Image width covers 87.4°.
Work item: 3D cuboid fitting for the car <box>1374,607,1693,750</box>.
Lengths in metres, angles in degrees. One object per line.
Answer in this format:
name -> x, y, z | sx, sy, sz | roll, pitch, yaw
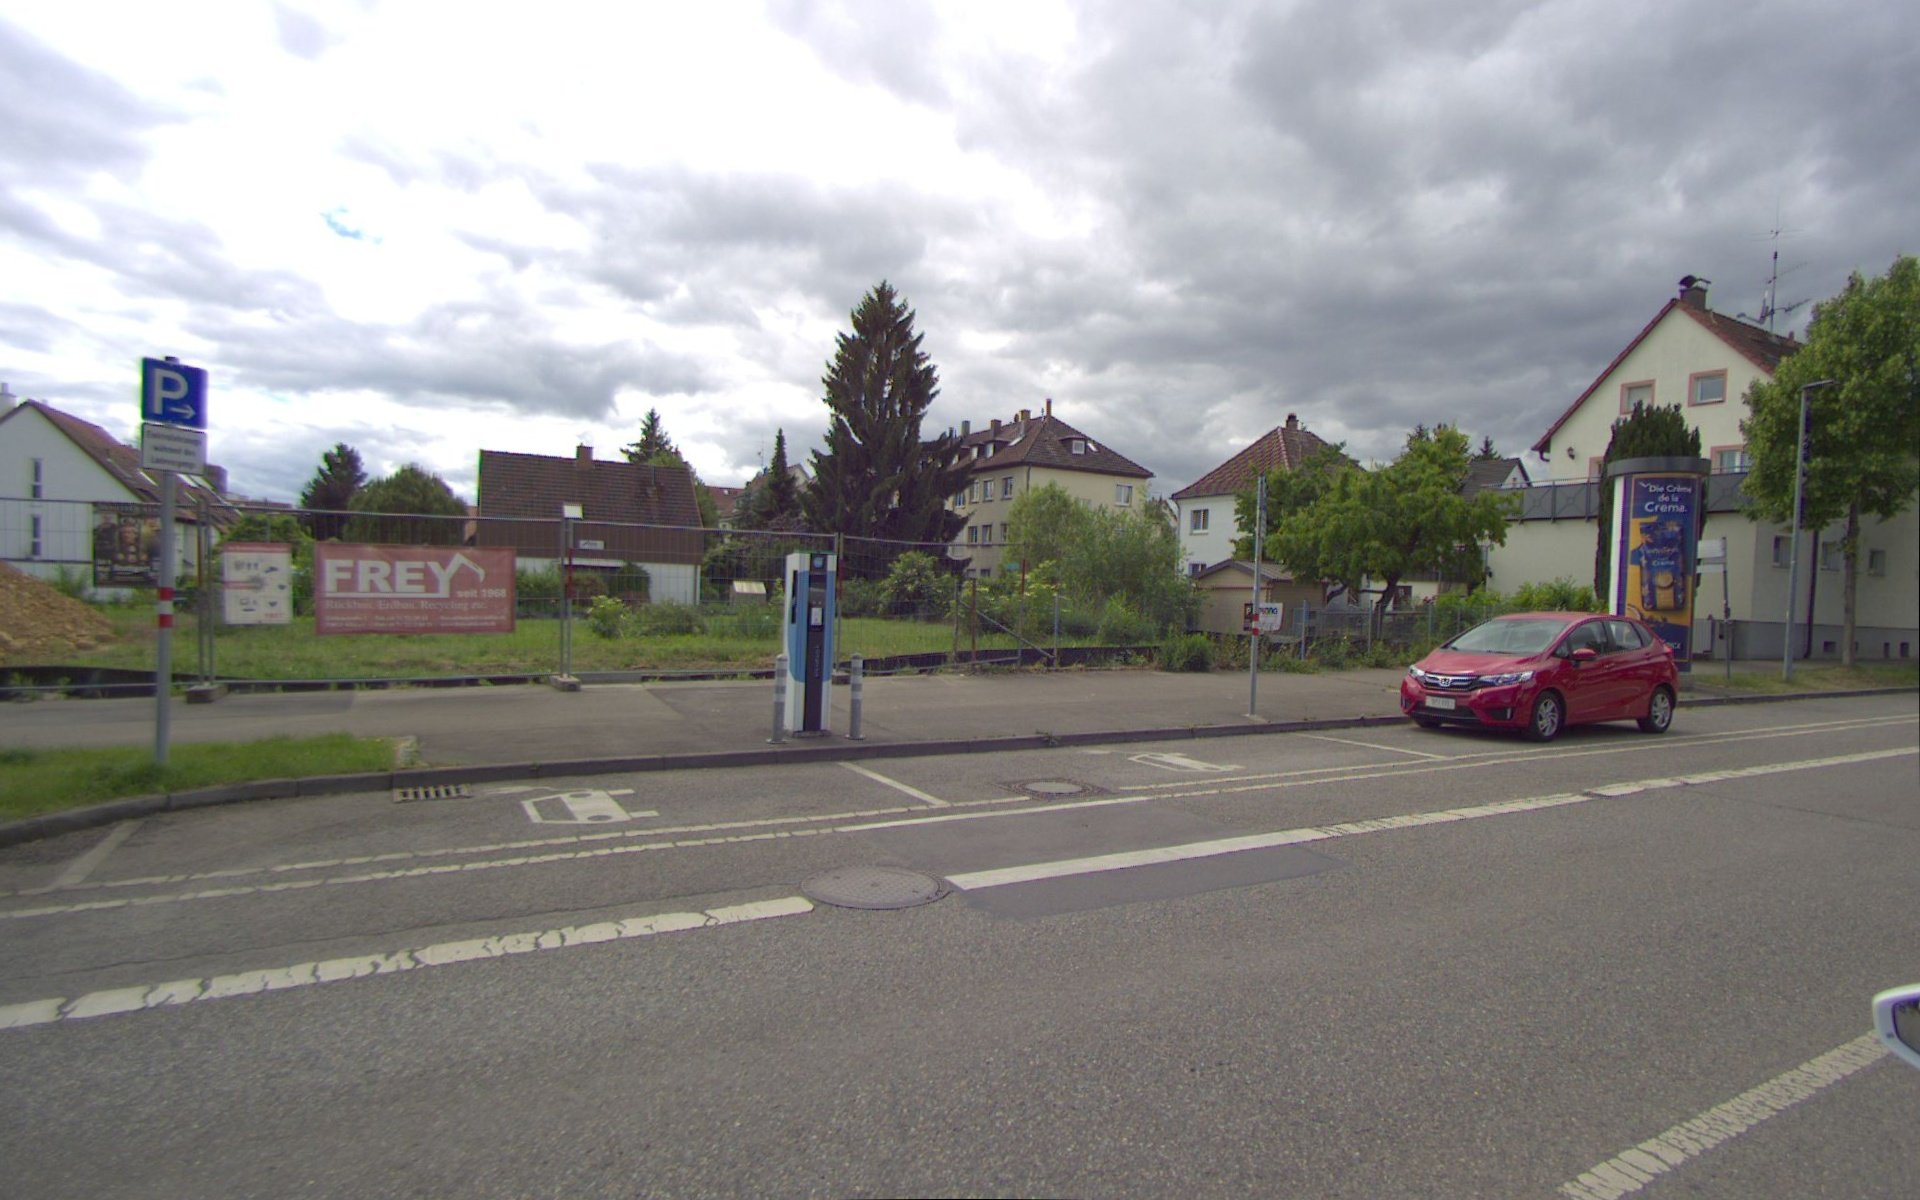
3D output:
car -> 7.433, 0.911, 12.957 | 4.081, 1.561, 1.678 | 1, 1, -29
